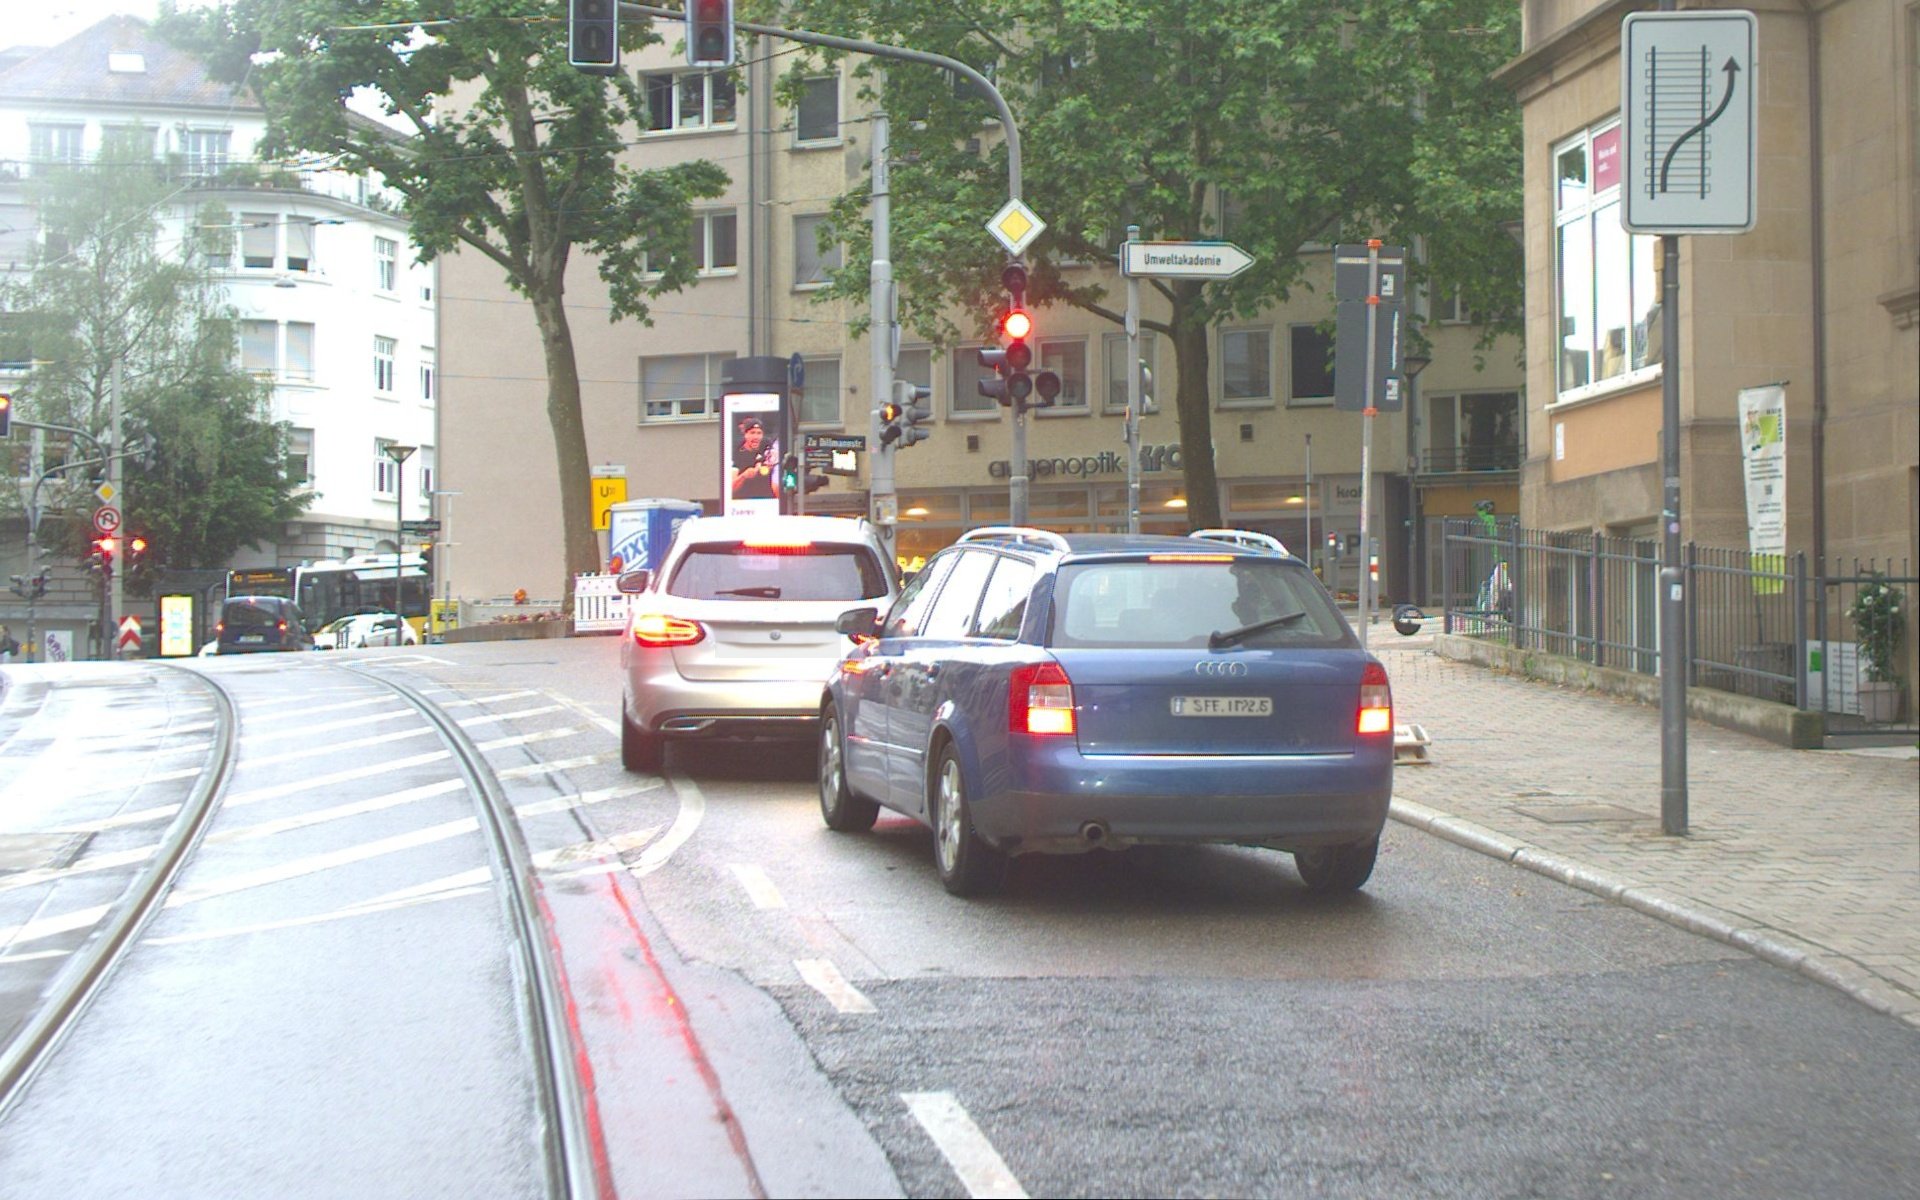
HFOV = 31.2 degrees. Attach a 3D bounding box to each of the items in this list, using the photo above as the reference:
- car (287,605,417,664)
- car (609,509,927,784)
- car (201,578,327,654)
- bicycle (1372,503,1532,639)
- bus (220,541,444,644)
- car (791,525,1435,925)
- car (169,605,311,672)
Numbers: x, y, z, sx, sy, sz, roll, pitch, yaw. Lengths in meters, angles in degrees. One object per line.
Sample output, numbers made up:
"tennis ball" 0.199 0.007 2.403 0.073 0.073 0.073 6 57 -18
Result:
"car" -17.137 0.945 97.067 1.796 1.505 3.996 0 2 21
"car" -1.172 0.210 20.521 1.710 1.451 3.553 1 2 -4
"car" -15.456 0.333 76.541 1.794 1.505 4.000 -2 1 2
"bicycle" 4.443 -0.265 31.071 1.300 1.169 0.526 -2 2 -8
"bus" -18.762 -0.294 103.403 2.857 2.851 8.726 0 2 18
"car" 0.488 0.425 14.727 1.710 1.410 4.038 1 2 -13
"car" -19.196 1.005 91.818 1.796 1.609 3.996 0 2 21
